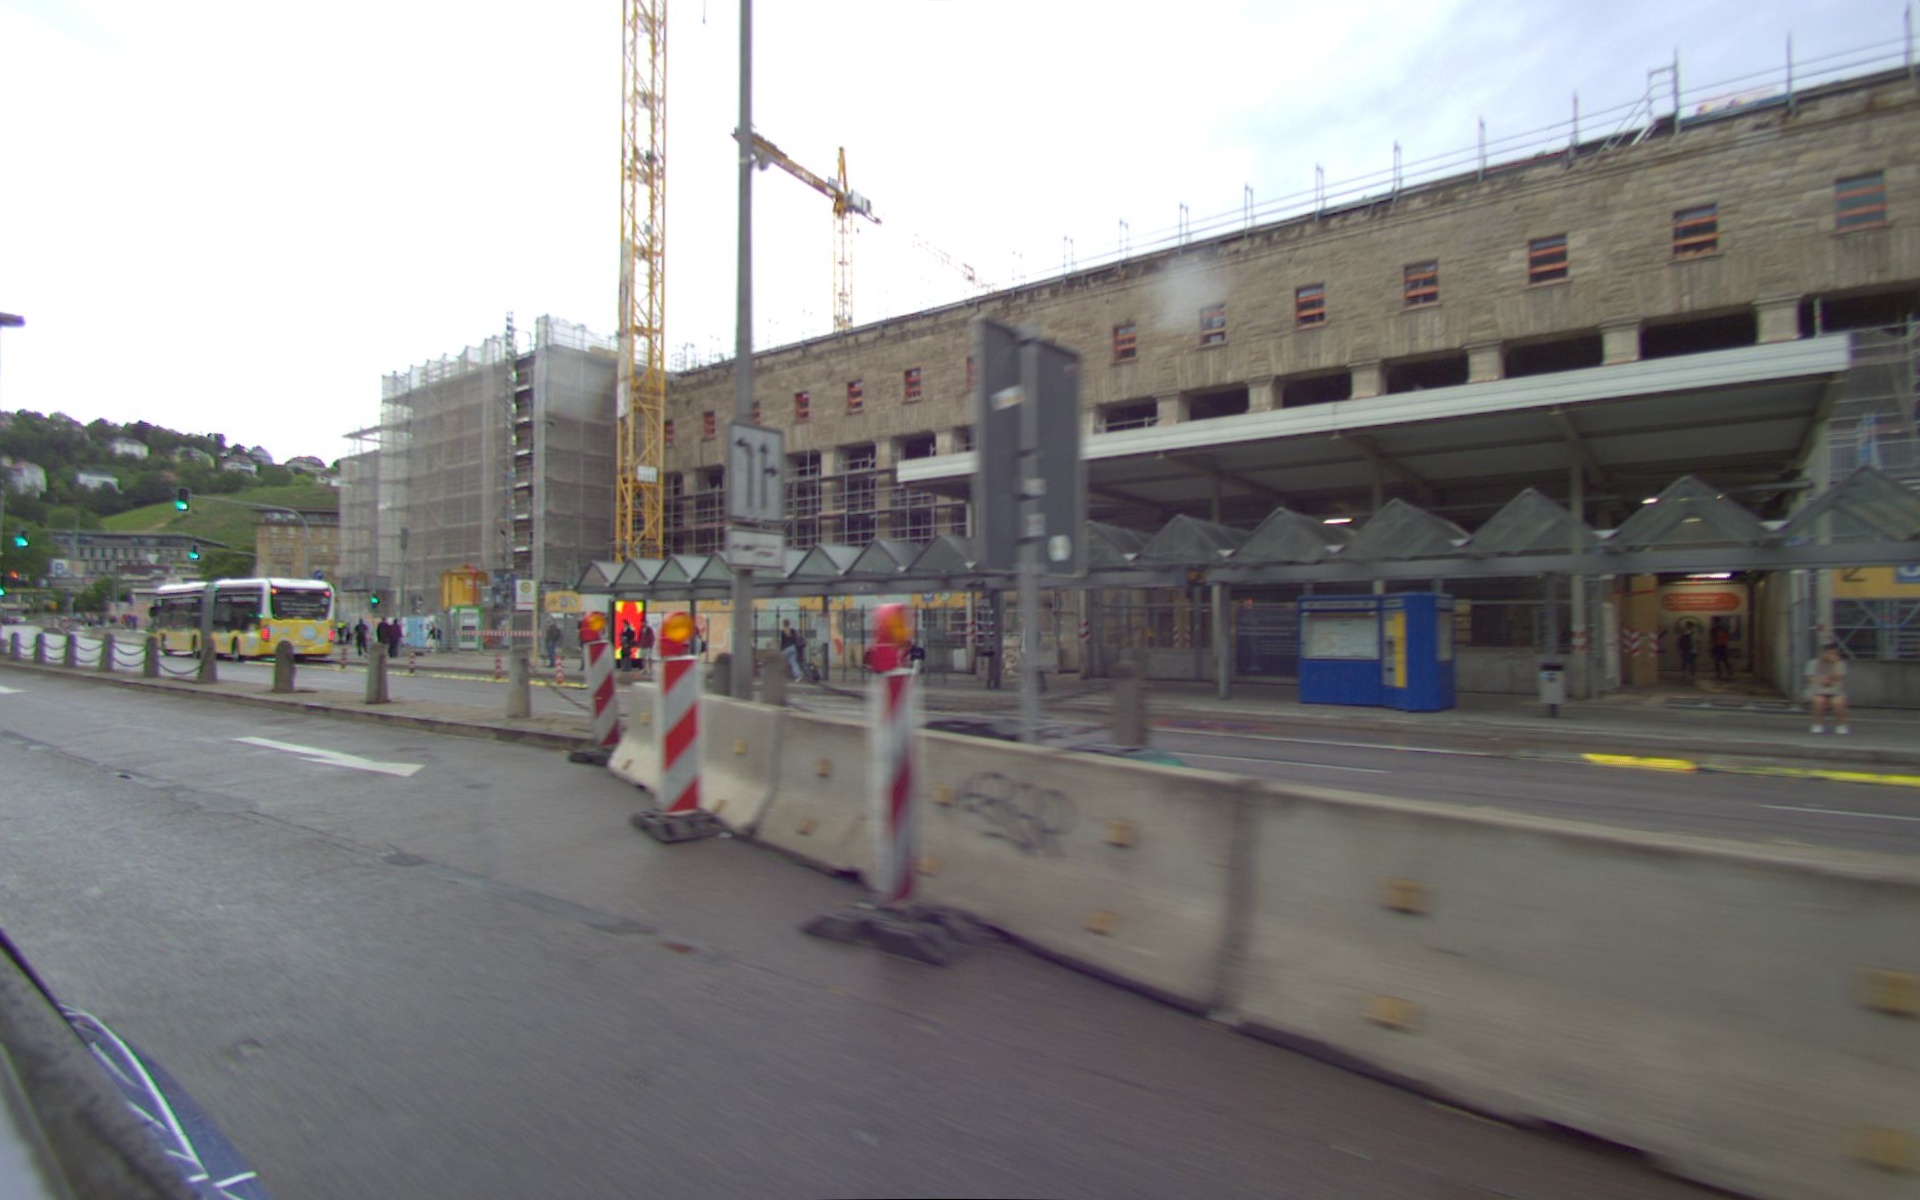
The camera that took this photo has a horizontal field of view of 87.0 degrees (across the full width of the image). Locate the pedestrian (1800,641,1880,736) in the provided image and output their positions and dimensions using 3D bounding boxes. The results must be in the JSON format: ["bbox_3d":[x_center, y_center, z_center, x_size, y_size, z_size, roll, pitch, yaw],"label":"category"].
[{"bbox_3d":[13.017,1.285,14.991,0.804,1.336,0.693,-1,-2,36],"label":"pedestrian"}]

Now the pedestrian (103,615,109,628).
[{"bbox_3d":[-93.463,2.327,110.764,0.432,1.362,0.414,1,-2,-42],"label":"pedestrian"}]

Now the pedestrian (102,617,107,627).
[{"bbox_3d":[-99.230,2.552,117.375,0.413,1.250,0.433,-1,-2,41],"label":"pedestrian"}]

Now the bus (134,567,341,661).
[{"bbox_3d":[-33.384,0.732,46.029,19.061,3.605,2.880,-1,-3,40],"label":"bus"}]

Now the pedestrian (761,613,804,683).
[{"bbox_3d":[-4.681,1.248,26.654,0.861,1.804,0.766,-2,-2,44],"label":"pedestrian"}]

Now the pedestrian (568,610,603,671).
[{"bbox_3d":[-12.400,1.324,33.494,0.820,1.973,0.752,-1,-1,35],"label":"pedestrian"}]

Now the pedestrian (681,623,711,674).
[{"bbox_3d":[-8.638,1.587,33.120,0.802,1.643,0.552,-1,-2,29],"label":"pedestrian"}]

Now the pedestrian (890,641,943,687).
[{"bbox_3d":[-1.137,1.666,26.618,1.053,1.167,0.940,-1,-2,37],"label":"pedestrian"}]

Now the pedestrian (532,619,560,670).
[{"bbox_3d":[-14.755,1.567,36.077,0.690,1.804,0.795,1,-2,-41],"label":"pedestrian"}]

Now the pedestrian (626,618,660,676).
[{"bbox_3d":[-10.021,1.464,32.032,0.745,1.804,0.718,-1,-2,32],"label":"pedestrian"}]

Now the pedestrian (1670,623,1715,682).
[{"bbox_3d":[21.987,1.552,30.362,1.027,1.708,1.018,-1,-2,38],"label":"pedestrian"}]

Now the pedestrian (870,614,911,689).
[{"bbox_3d":[-1.710,1.258,24.863,0.783,1.804,0.663,-2,-2,42],"label":"pedestrian"}]

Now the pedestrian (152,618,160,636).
[{"bbox_3d":[-77.846,2.629,97.993,0.462,1.768,0.511,-1,-1,39],"label":"pedestrian"}]

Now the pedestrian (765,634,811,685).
[{"bbox_3d":[-5.001,1.704,29.414,0.829,1.443,1.045,-1,-2,36],"label":"pedestrian"}]

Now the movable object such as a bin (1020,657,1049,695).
[{"bbox_3d":[1.639,1.666,22.221,0.503,0.795,0.635,1,-2,-8],"label":"movable object such as a bin"}]

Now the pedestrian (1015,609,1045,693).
[{"bbox_3d":[1.577,1.135,22.890,0.549,1.862,0.679,0,-1,-7],"label":"pedestrian"}]

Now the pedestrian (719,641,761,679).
[{"bbox_3d":[-6.639,1.808,30.583,0.924,1.101,0.836,-1,-2,36],"label":"pedestrian"}]

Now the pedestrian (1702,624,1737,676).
[{"bbox_3d":[23.843,1.544,31.772,0.830,1.596,0.890,-1,-2,35],"label":"pedestrian"}]

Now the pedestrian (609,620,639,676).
[{"bbox_3d":[-11.037,1.562,33.282,0.802,1.804,0.552,-1,-2,29],"label":"pedestrian"}]

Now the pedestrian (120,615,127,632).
[{"bbox_3d":[-82.280,2.282,99.572,0.413,1.628,0.433,-1,-2,38],"label":"pedestrian"}]

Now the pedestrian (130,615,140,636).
[{"bbox_3d":[-82.360,2.551,101.041,0.685,2.049,0.586,-1,-2,39],"label":"pedestrian"}]

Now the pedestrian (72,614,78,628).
[{"bbox_3d":[-108.310,2.568,123.866,0.413,1.628,0.433,-1,-2,39],"label":"pedestrian"}]

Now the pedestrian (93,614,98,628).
[{"bbox_3d":[-99.720,2.379,116.680,0.356,1.628,0.370,-1,-2,38],"label":"pedestrian"}]

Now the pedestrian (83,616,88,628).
[{"bbox_3d":[-110.661,2.728,128.102,0.432,1.512,0.414,1,-2,-38],"label":"pedestrian"}]
